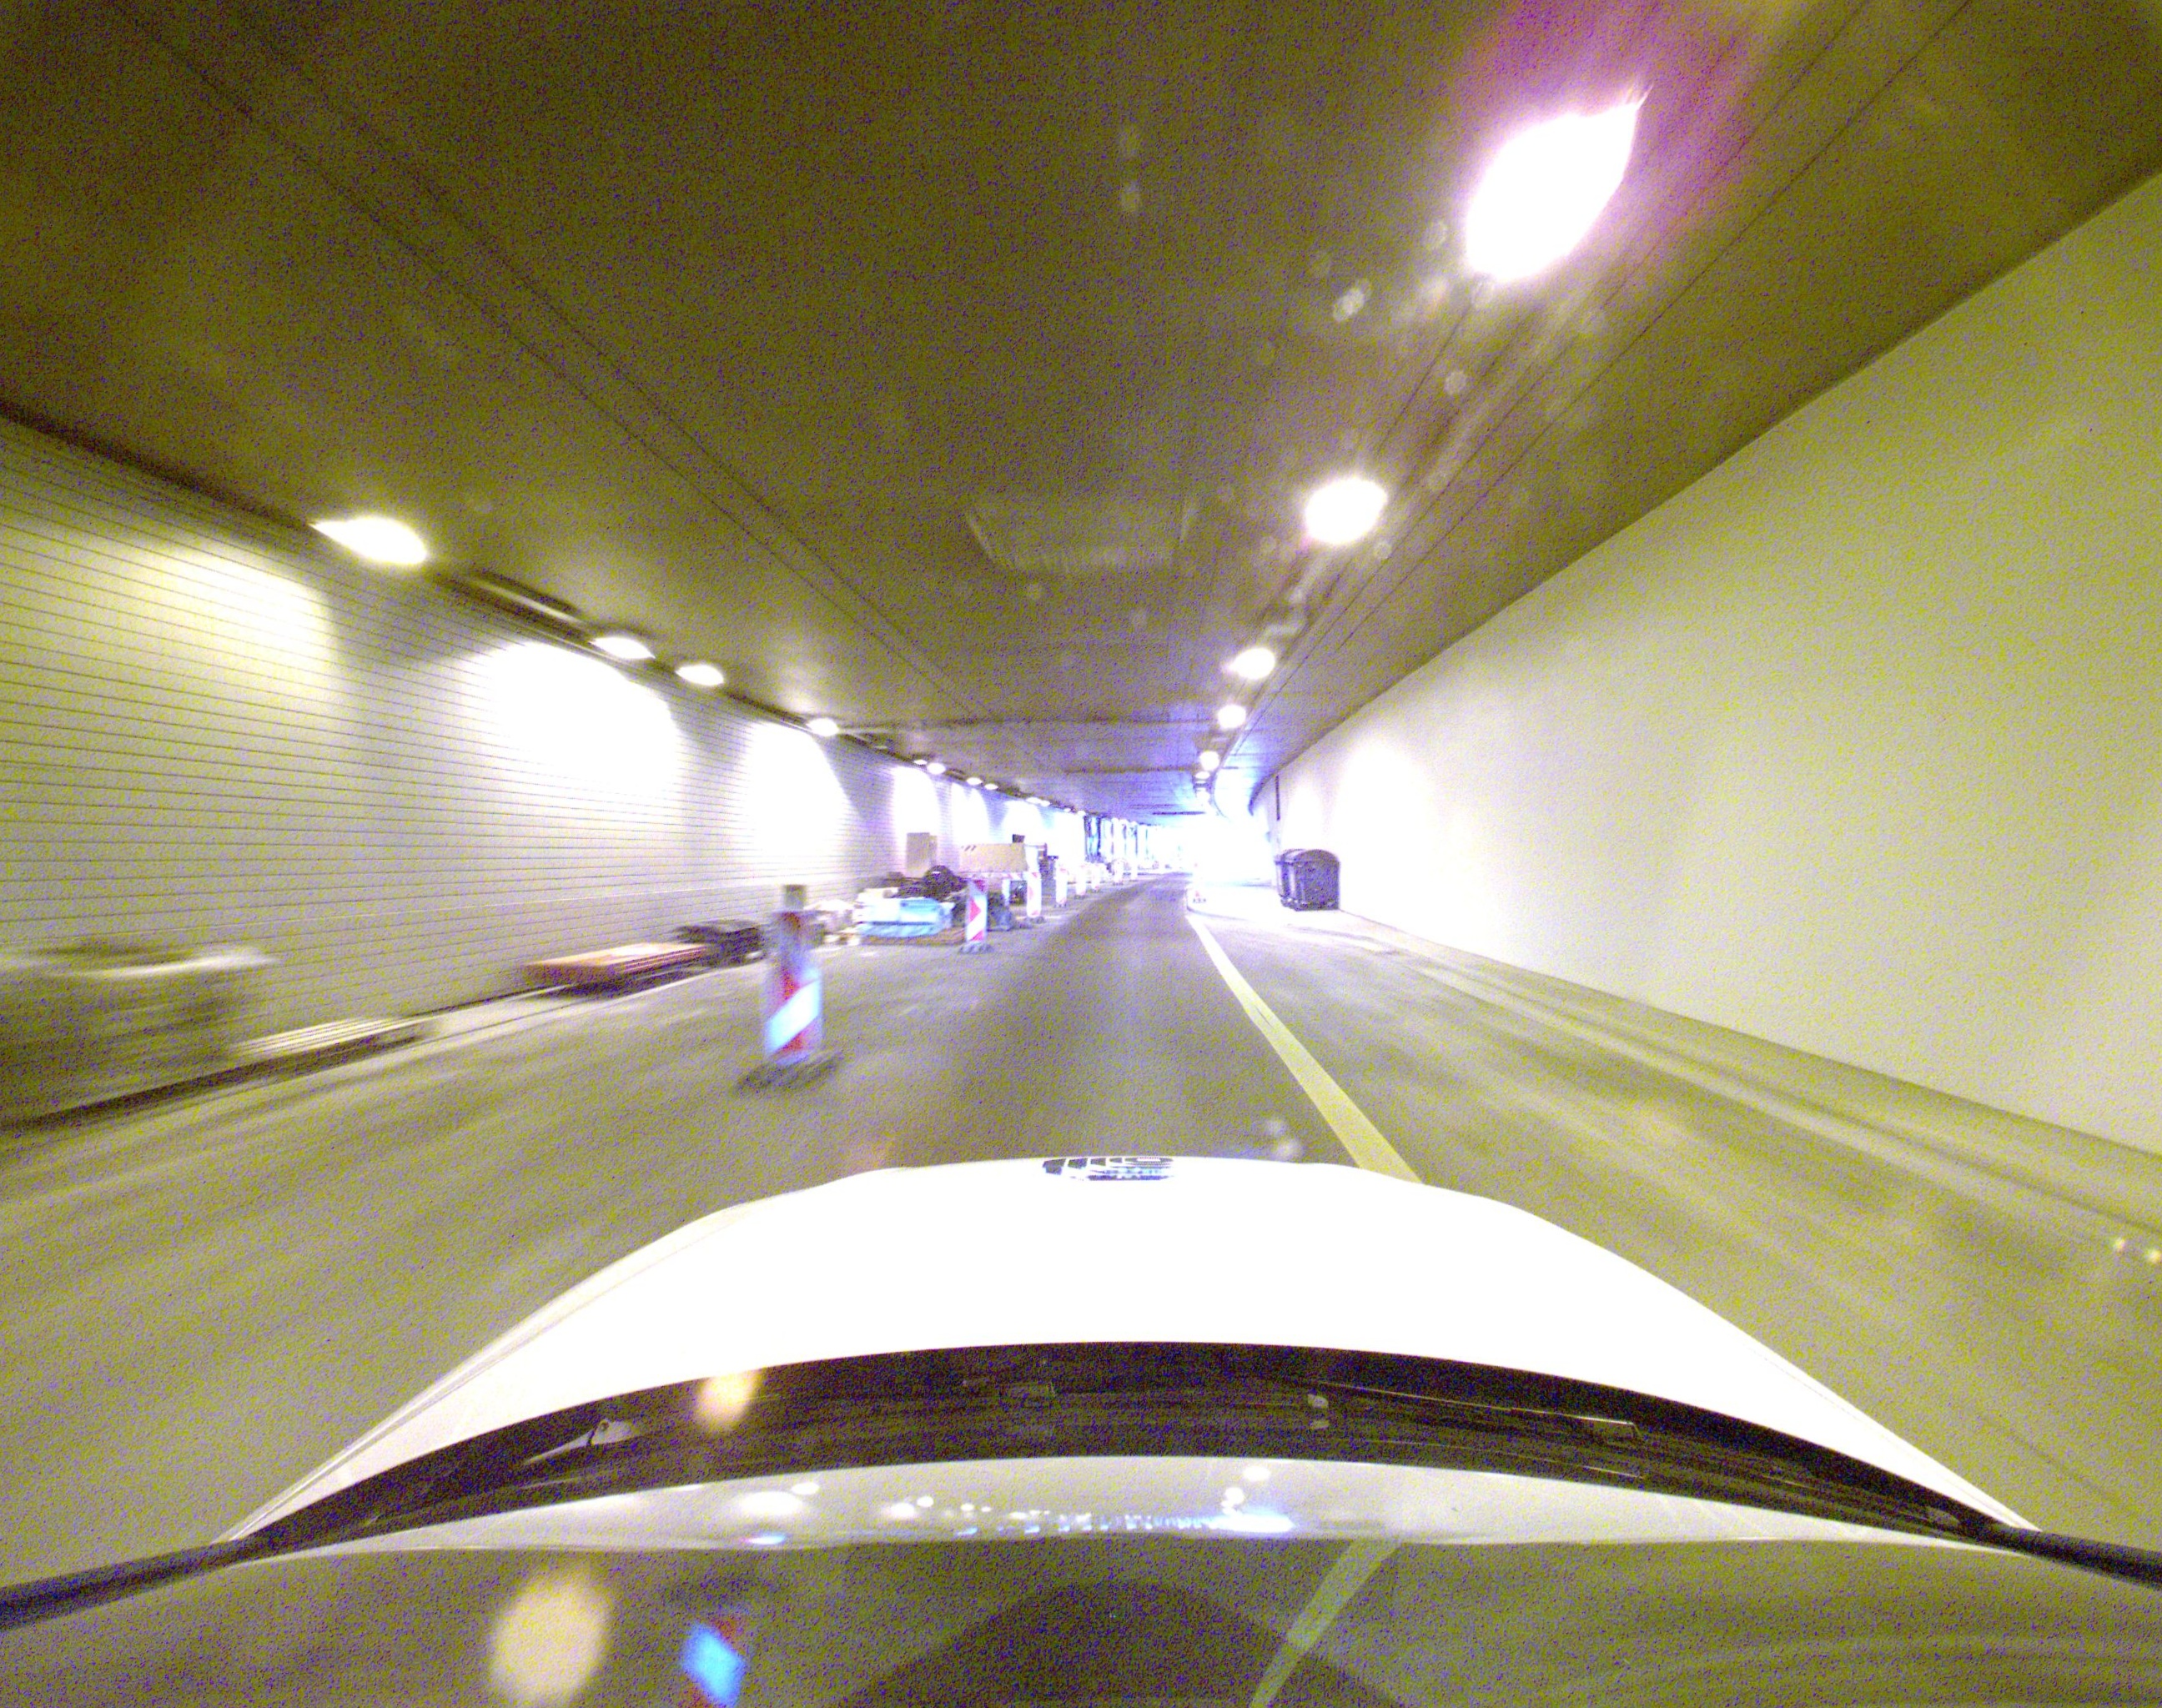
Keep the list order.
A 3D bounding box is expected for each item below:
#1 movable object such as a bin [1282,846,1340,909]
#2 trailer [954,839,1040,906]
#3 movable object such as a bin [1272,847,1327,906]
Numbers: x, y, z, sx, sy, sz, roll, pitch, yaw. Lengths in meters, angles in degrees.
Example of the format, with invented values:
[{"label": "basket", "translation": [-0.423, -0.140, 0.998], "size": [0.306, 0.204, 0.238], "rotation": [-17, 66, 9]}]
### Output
[{"label": "movable object such as a bin", "translation": [5.501, 0.552, 19.540], "size": [1.092, 1.445, 1.324], "rotation": [-1, -1, 5]}, {"label": "trailer", "translation": [-2.647, 0.568, 26.513], "size": [2.198, 2.014, 3.470], "rotation": [-1, -1, 4]}, {"label": "movable object such as a bin", "translation": [5.591, 0.566, 20.926], "size": [1.140, 1.445, 1.366], "rotation": [-1, -1, 5]}]
